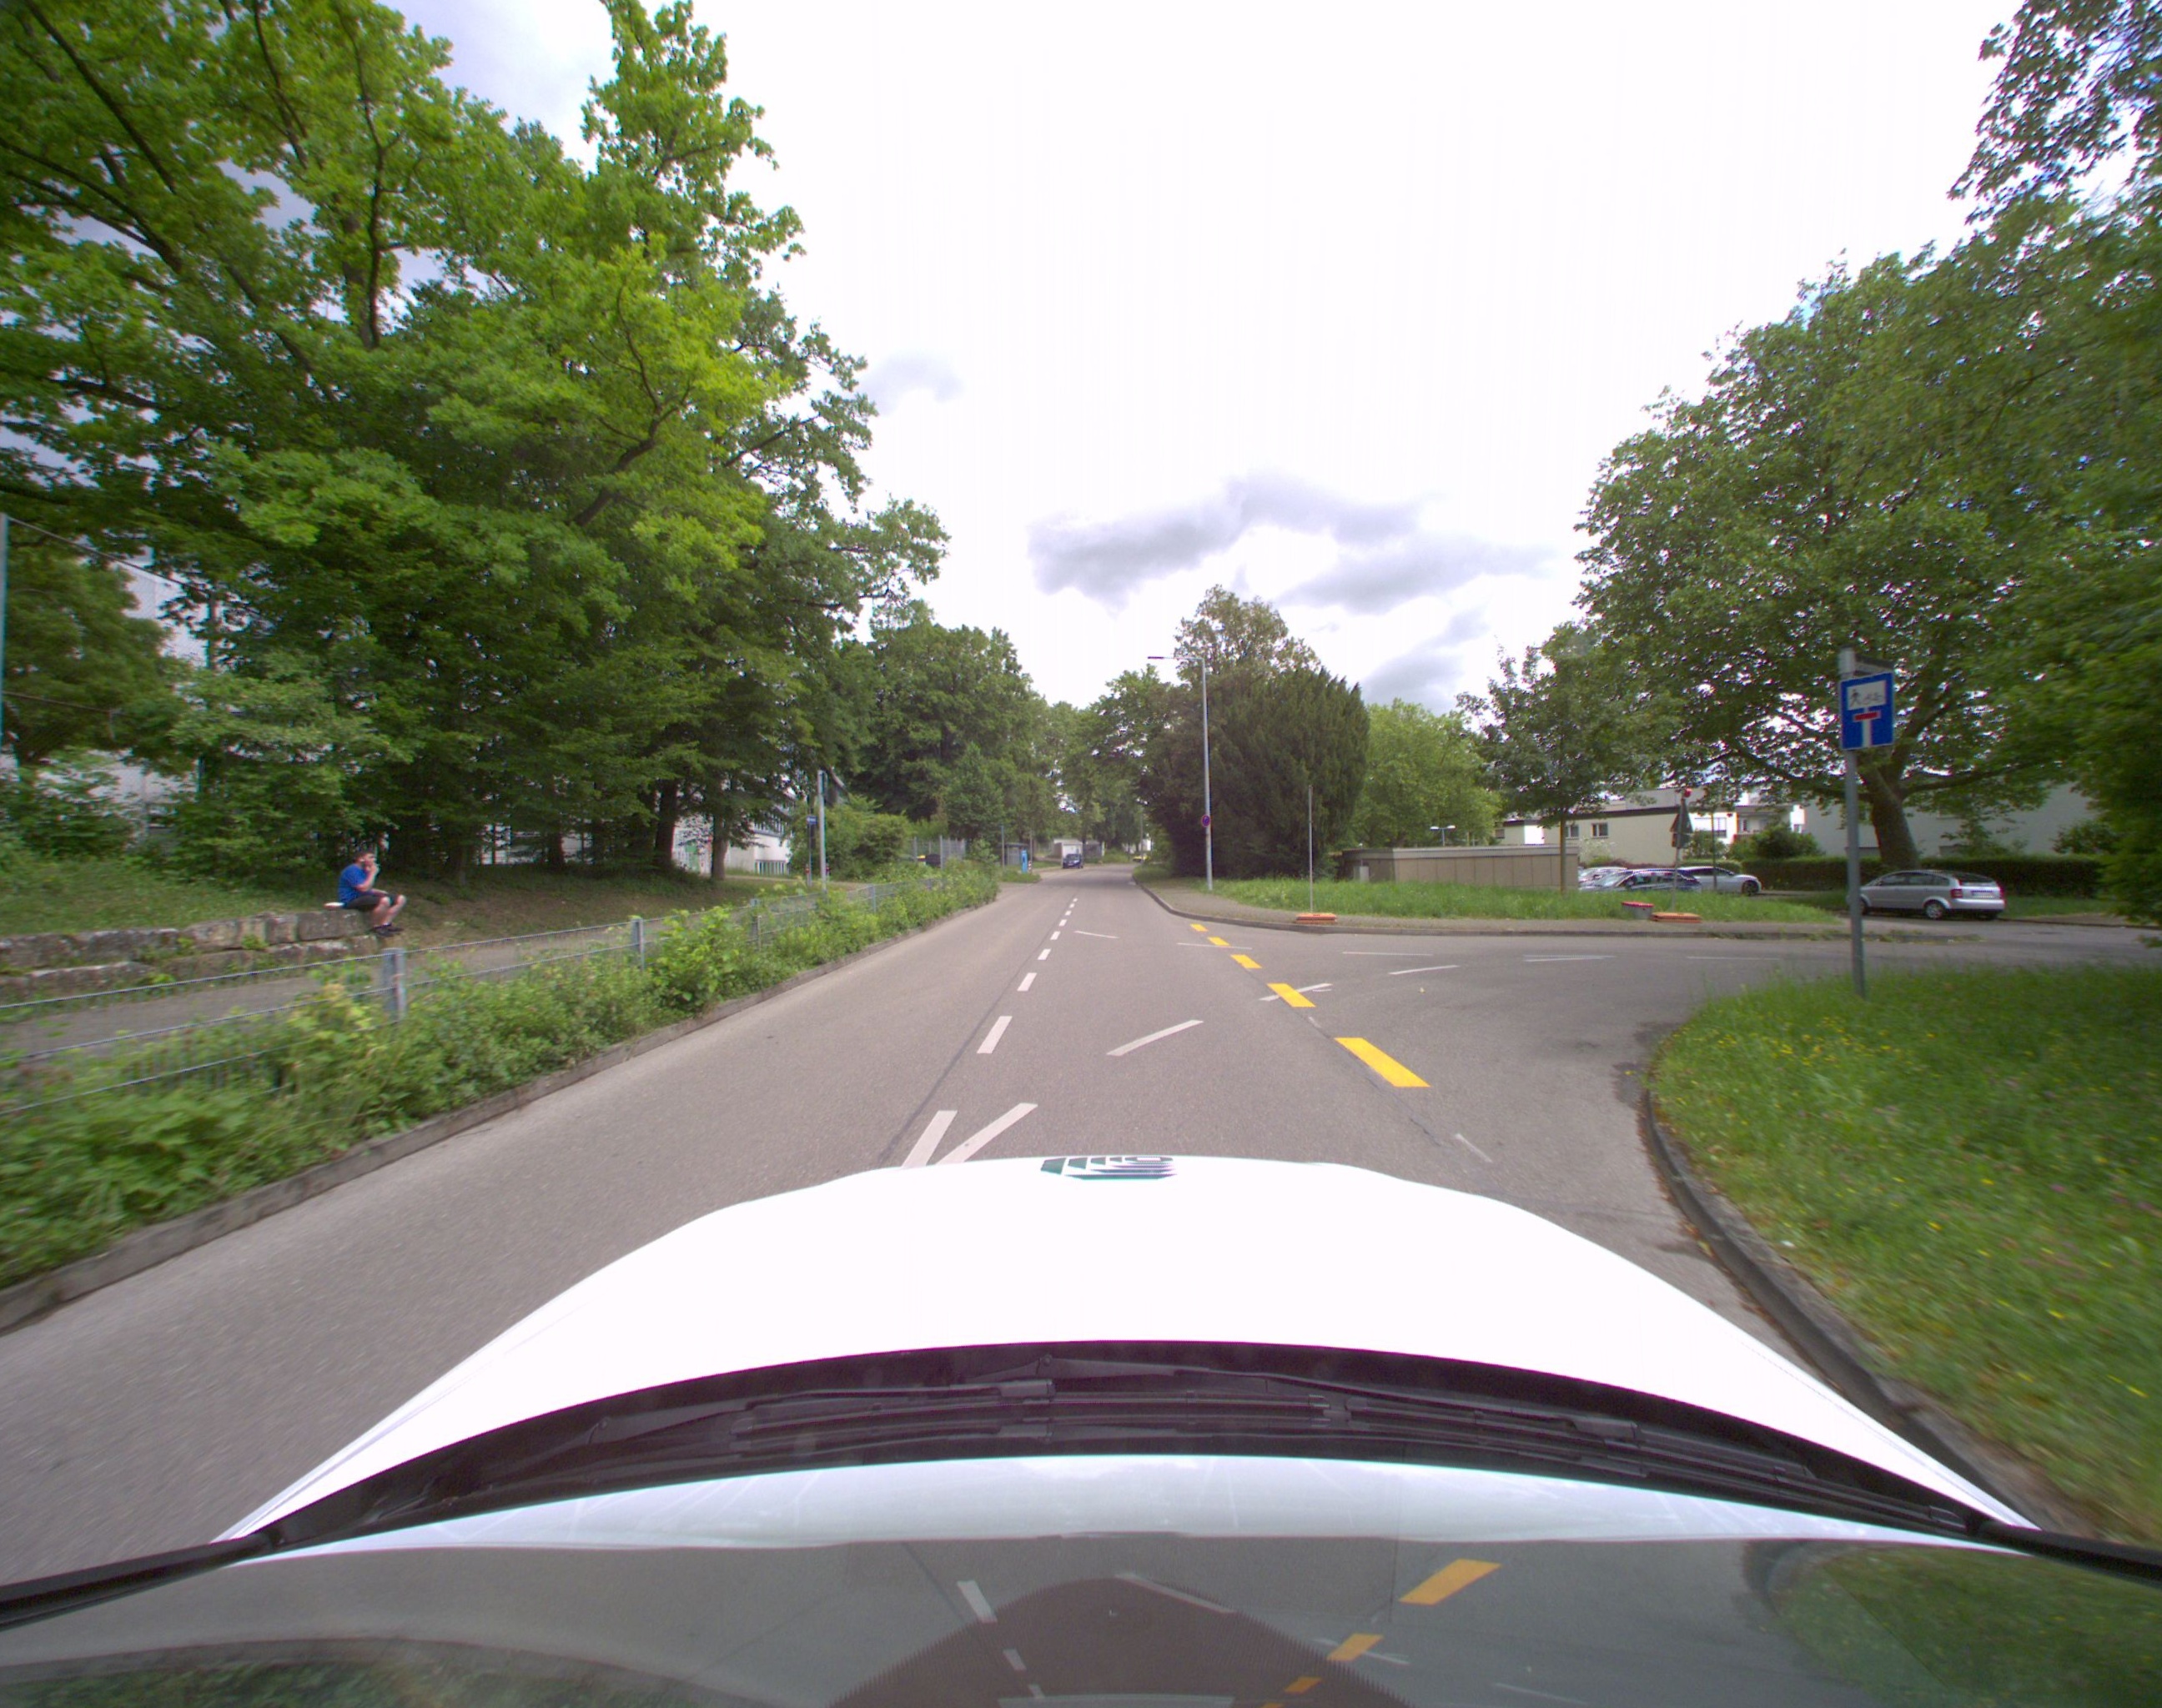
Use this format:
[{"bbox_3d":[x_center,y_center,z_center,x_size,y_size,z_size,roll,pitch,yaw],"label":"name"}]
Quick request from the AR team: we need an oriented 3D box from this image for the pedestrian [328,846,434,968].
[{"bbox_3d":[-9.952,0.732,11.608,0.757,1.662,0.809,-1,0,-1],"label":"pedestrian"}]

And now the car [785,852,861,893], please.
[{"bbox_3d":[-13.401,0.917,42.578,1.979,2.013,4.015,-1,0,13],"label":"car"}]

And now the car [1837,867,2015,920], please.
[{"bbox_3d":[26.647,1.192,25.884,1.839,1.469,3.750,-1,0,2],"label":"car"}]

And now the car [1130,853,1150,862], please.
[{"bbox_3d":[8.657,0.510,119.185,1.686,1.403,4.294,0,0,20],"label":"car"}]

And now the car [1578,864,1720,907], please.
[{"bbox_3d":[19.109,1.041,27.494,3.548,1.315,1.811,1,0,0],"label":"car"}]

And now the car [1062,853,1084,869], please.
[{"bbox_3d":[-0.790,0.717,81.955,1.671,1.511,4.440,-1,0,7],"label":"car"}]
